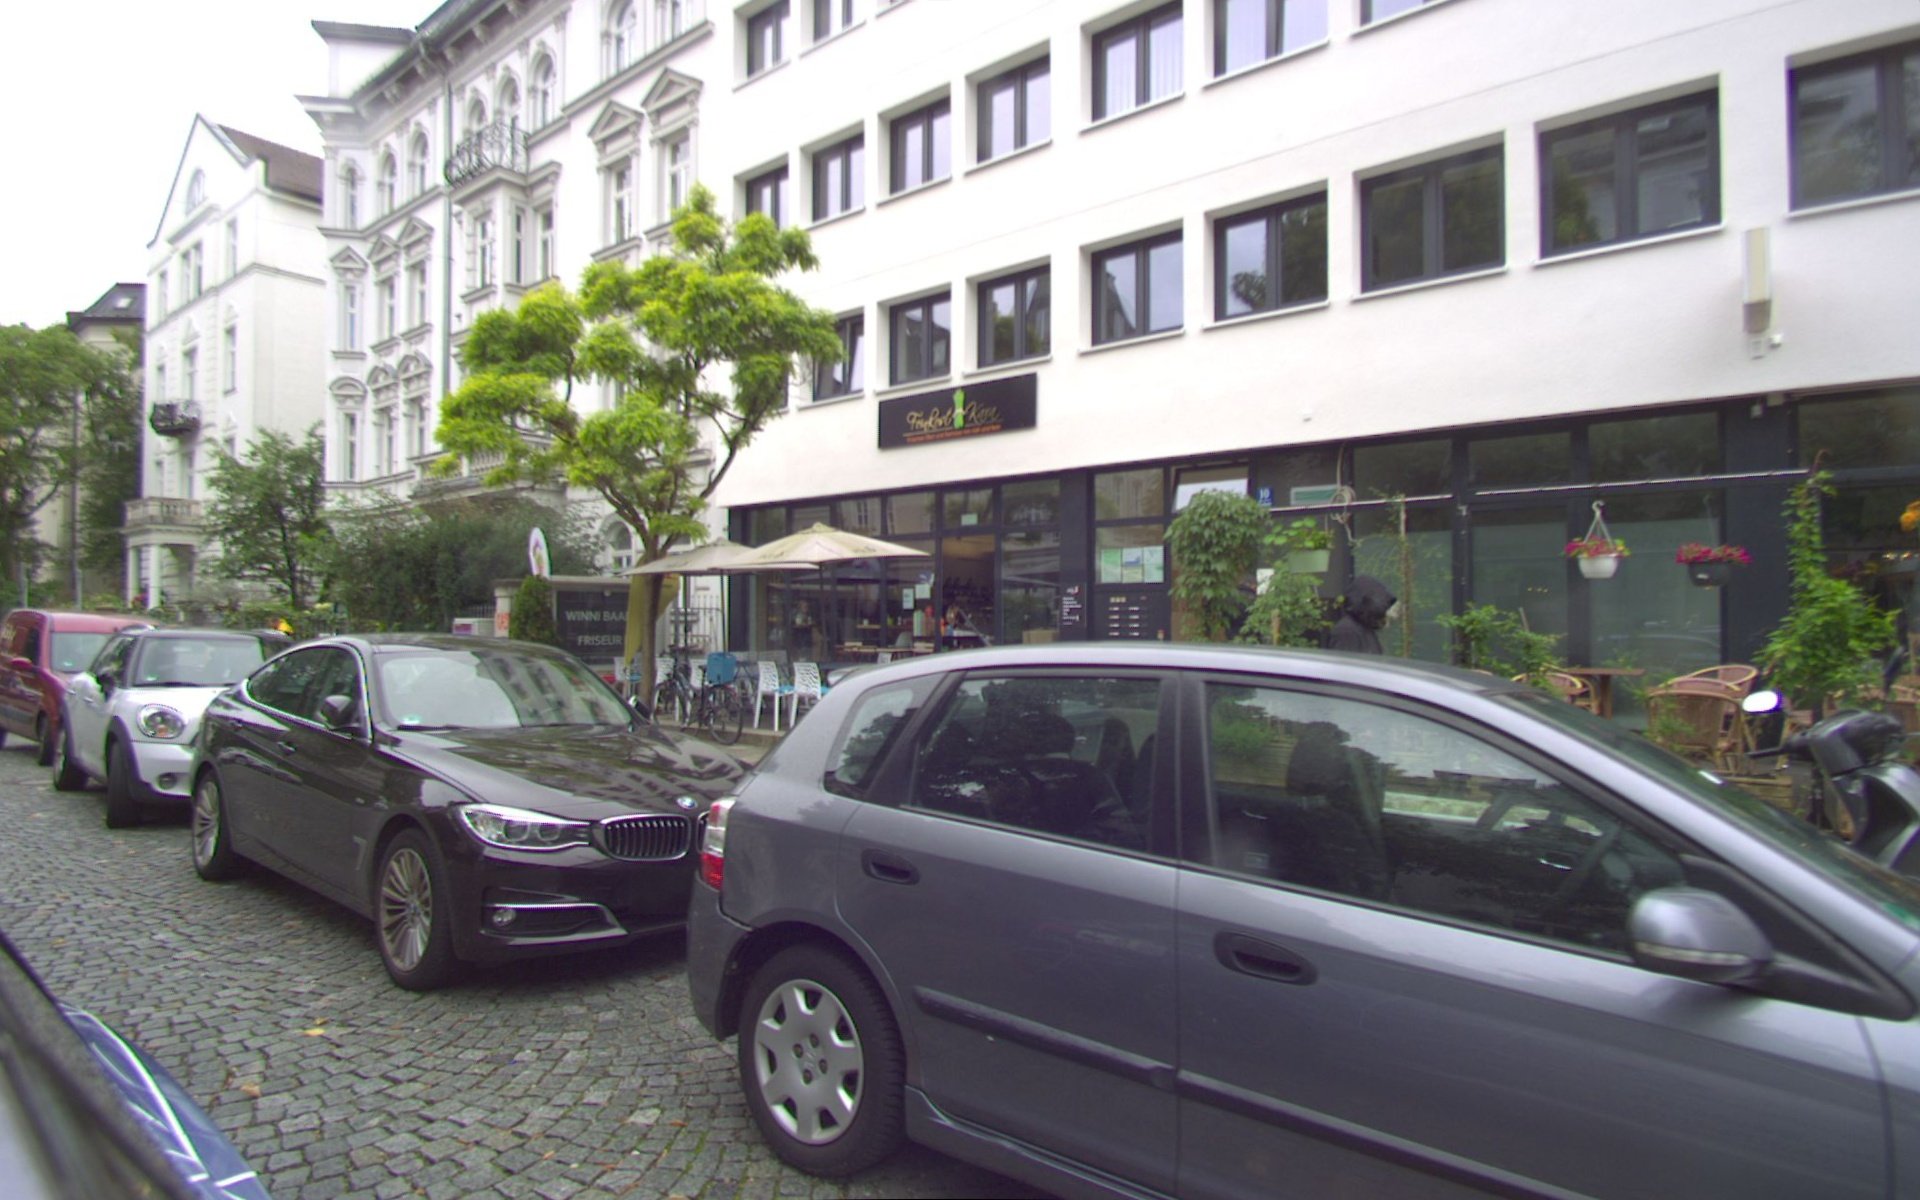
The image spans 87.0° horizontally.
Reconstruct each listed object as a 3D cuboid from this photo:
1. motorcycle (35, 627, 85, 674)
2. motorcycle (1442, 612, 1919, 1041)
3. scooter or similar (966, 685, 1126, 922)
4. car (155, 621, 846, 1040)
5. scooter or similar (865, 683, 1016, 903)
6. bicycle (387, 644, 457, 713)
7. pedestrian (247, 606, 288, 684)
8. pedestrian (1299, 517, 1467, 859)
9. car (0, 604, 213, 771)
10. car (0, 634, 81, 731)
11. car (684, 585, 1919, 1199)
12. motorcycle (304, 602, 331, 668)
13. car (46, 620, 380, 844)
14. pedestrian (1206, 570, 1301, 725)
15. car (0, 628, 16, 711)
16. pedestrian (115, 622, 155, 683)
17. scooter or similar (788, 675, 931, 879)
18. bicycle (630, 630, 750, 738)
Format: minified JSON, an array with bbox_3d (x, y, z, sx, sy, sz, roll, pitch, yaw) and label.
[{"bbox_3d":[-29.195,1.621,32.820,2.241,1.439,0.730,-1,0,36],"label":"motorcycle"},{"bbox_3d":[2.990,0.742,3.774,2.055,1.379,0.668,-1,-1,37],"label":"motorcycle"},{"bbox_3d":[0.465,1.038,5.412,0.626,1.101,0.601,-1,-1,36],"label":"scooter or similar"},{"bbox_3d":[-2.829,0.902,5.691,4.468,1.476,1.708,-2,-4,39],"label":"car"},{"bbox_3d":[-0.110,1.057,5.793,0.625,1.101,0.601,-1,-1,36],"label":"scooter or similar"},{"bbox_3d":[-8.844,1.279,16.607,1.682,1.087,0.255,-3,-2,35],"label":"bicycle"},{"bbox_3d":[-14.988,0.963,21.895,0.569,1.659,0.822,2,-3,-45],"label":"pedestrian"},{"bbox_3d":[2.502,0.484,5.981,0.811,1.854,0.609,-1,-1,32],"label":"pedestrian"},{"bbox_3d":[-10.861,0.967,12.460,3.894,1.736,1.701,-1,-2,39],"label":"car"},{"bbox_3d":[-15.768,1.276,16.355,3.810,1.404,1.616,-1,-1,37],"label":"car"},{"bbox_3d":[1.236,0.762,2.500,3.976,1.494,1.646,-2,-2,38],"label":"car"},{"bbox_3d":[-11.965,0.639,18.825,0.326,1.189,1.629,0,-1,-36],"label":"motorcycle"},{"bbox_3d":[-6.664,0.949,8.883,3.776,1.515,1.675,-1,-1,42],"label":"car"},{"bbox_3d":[3.315,0.526,11.438,0.783,1.673,0.549,-4,-1,41],"label":"pedestrian"},{"bbox_3d":[-20.468,1.367,20.227,4.061,1.584,1.674,-1,-1,37],"label":"car"},{"bbox_3d":[-22.539,1.419,27.654,0.655,1.640,0.671,0,-1,-20],"label":"pedestrian"},{"bbox_3d":[-0.612,1.037,6.189,0.624,1.101,0.601,-1,-1,36],"label":"scooter or similar"},{"bbox_3d":[-3.228,0.952,11.980,1.910,1.183,0.357,-1,-1,41],"label":"bicycle"}]
